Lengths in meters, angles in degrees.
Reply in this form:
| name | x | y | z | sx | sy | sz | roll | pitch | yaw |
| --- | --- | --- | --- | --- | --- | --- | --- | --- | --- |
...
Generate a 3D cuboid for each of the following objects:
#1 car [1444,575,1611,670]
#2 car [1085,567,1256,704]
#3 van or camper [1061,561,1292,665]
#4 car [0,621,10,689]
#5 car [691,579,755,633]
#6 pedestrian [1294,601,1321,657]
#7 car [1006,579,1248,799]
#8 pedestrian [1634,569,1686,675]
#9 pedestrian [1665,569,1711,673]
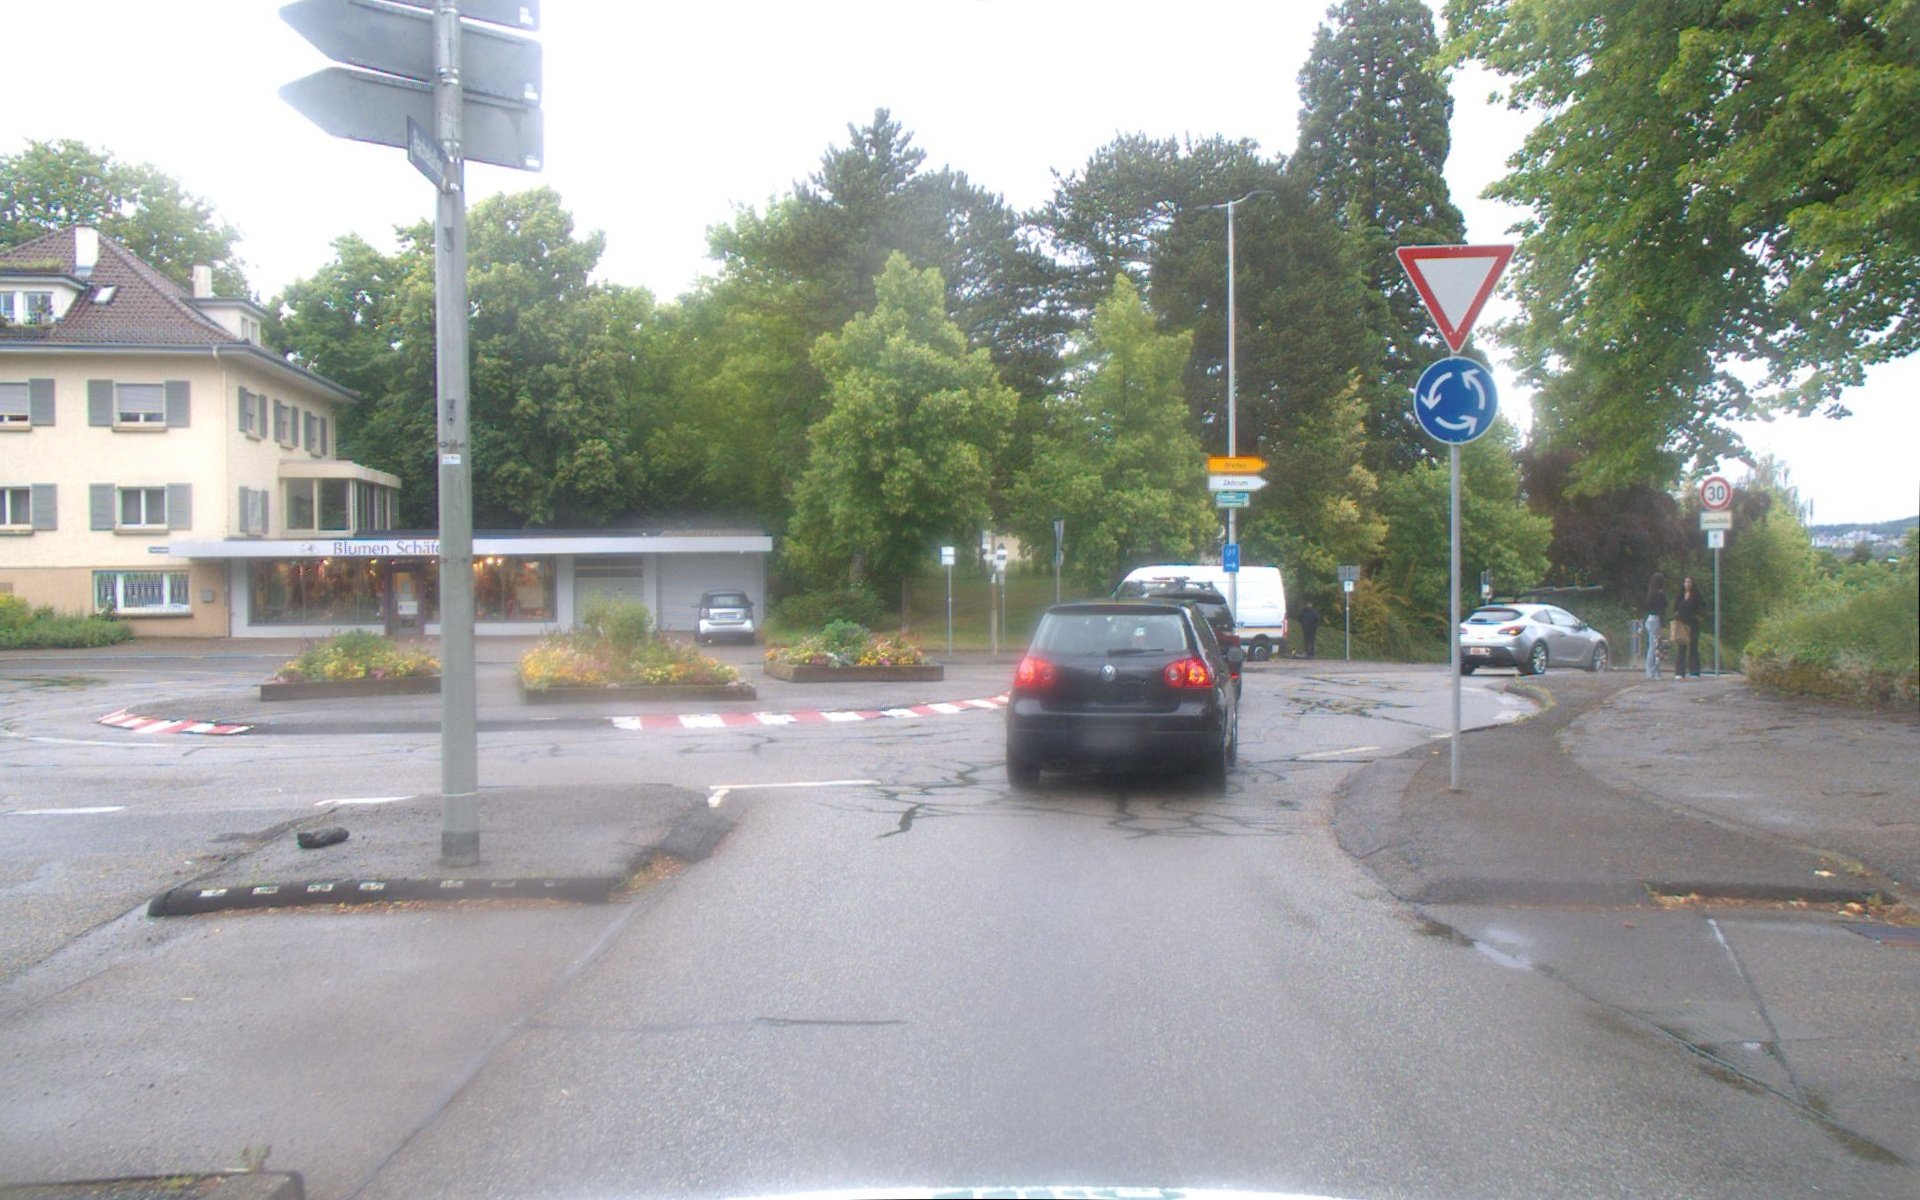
| name | x | y | z | sx | sy | sz | roll | pitch | yaw |
| --- | --- | --- | --- | --- | --- | --- | --- | --- | --- |
| car | 11.830 | 0.429 | 34.334 | 1.739 | 1.833 | 4.221 | -2 | 0 | 42 |
| car | 3.056 | 0.495 | 24.842 | 1.730 | 1.833 | 4.243 | -2 | 0 | -4 |
| van or camper | 5.417 | 0.347 | 41.145 | 5.592 | 2.420 | 2.178 | 1 | -1 | -31 |
| car | -27.335 | 1.418 | 43.040 | 4.044 | 1.772 | 2.001 | 1 | -1 | 3 |
| car | -7.066 | 0.164 | 49.202 | 1.779 | 1.512 | 3.823 | -2 | 0 | -9 |
| pedestrian | 10.907 | 0.906 | 51.970 | 0.722 | 1.756 | 0.817 | 0 | -1 | 19 |
| car | 1.555 | 0.637 | 14.074 | 1.727 | 1.565 | 4.003 | 1 | 0 | 10 |
| pedestrian | 11.713 | 0.366 | 27.675 | 0.519 | 1.743 | 0.633 | 1 | -1 | -17 |
| pedestrian | 12.422 | 0.359 | 28.232 | 0.620 | 1.743 | 0.530 | 1 | -1 | 14 |
